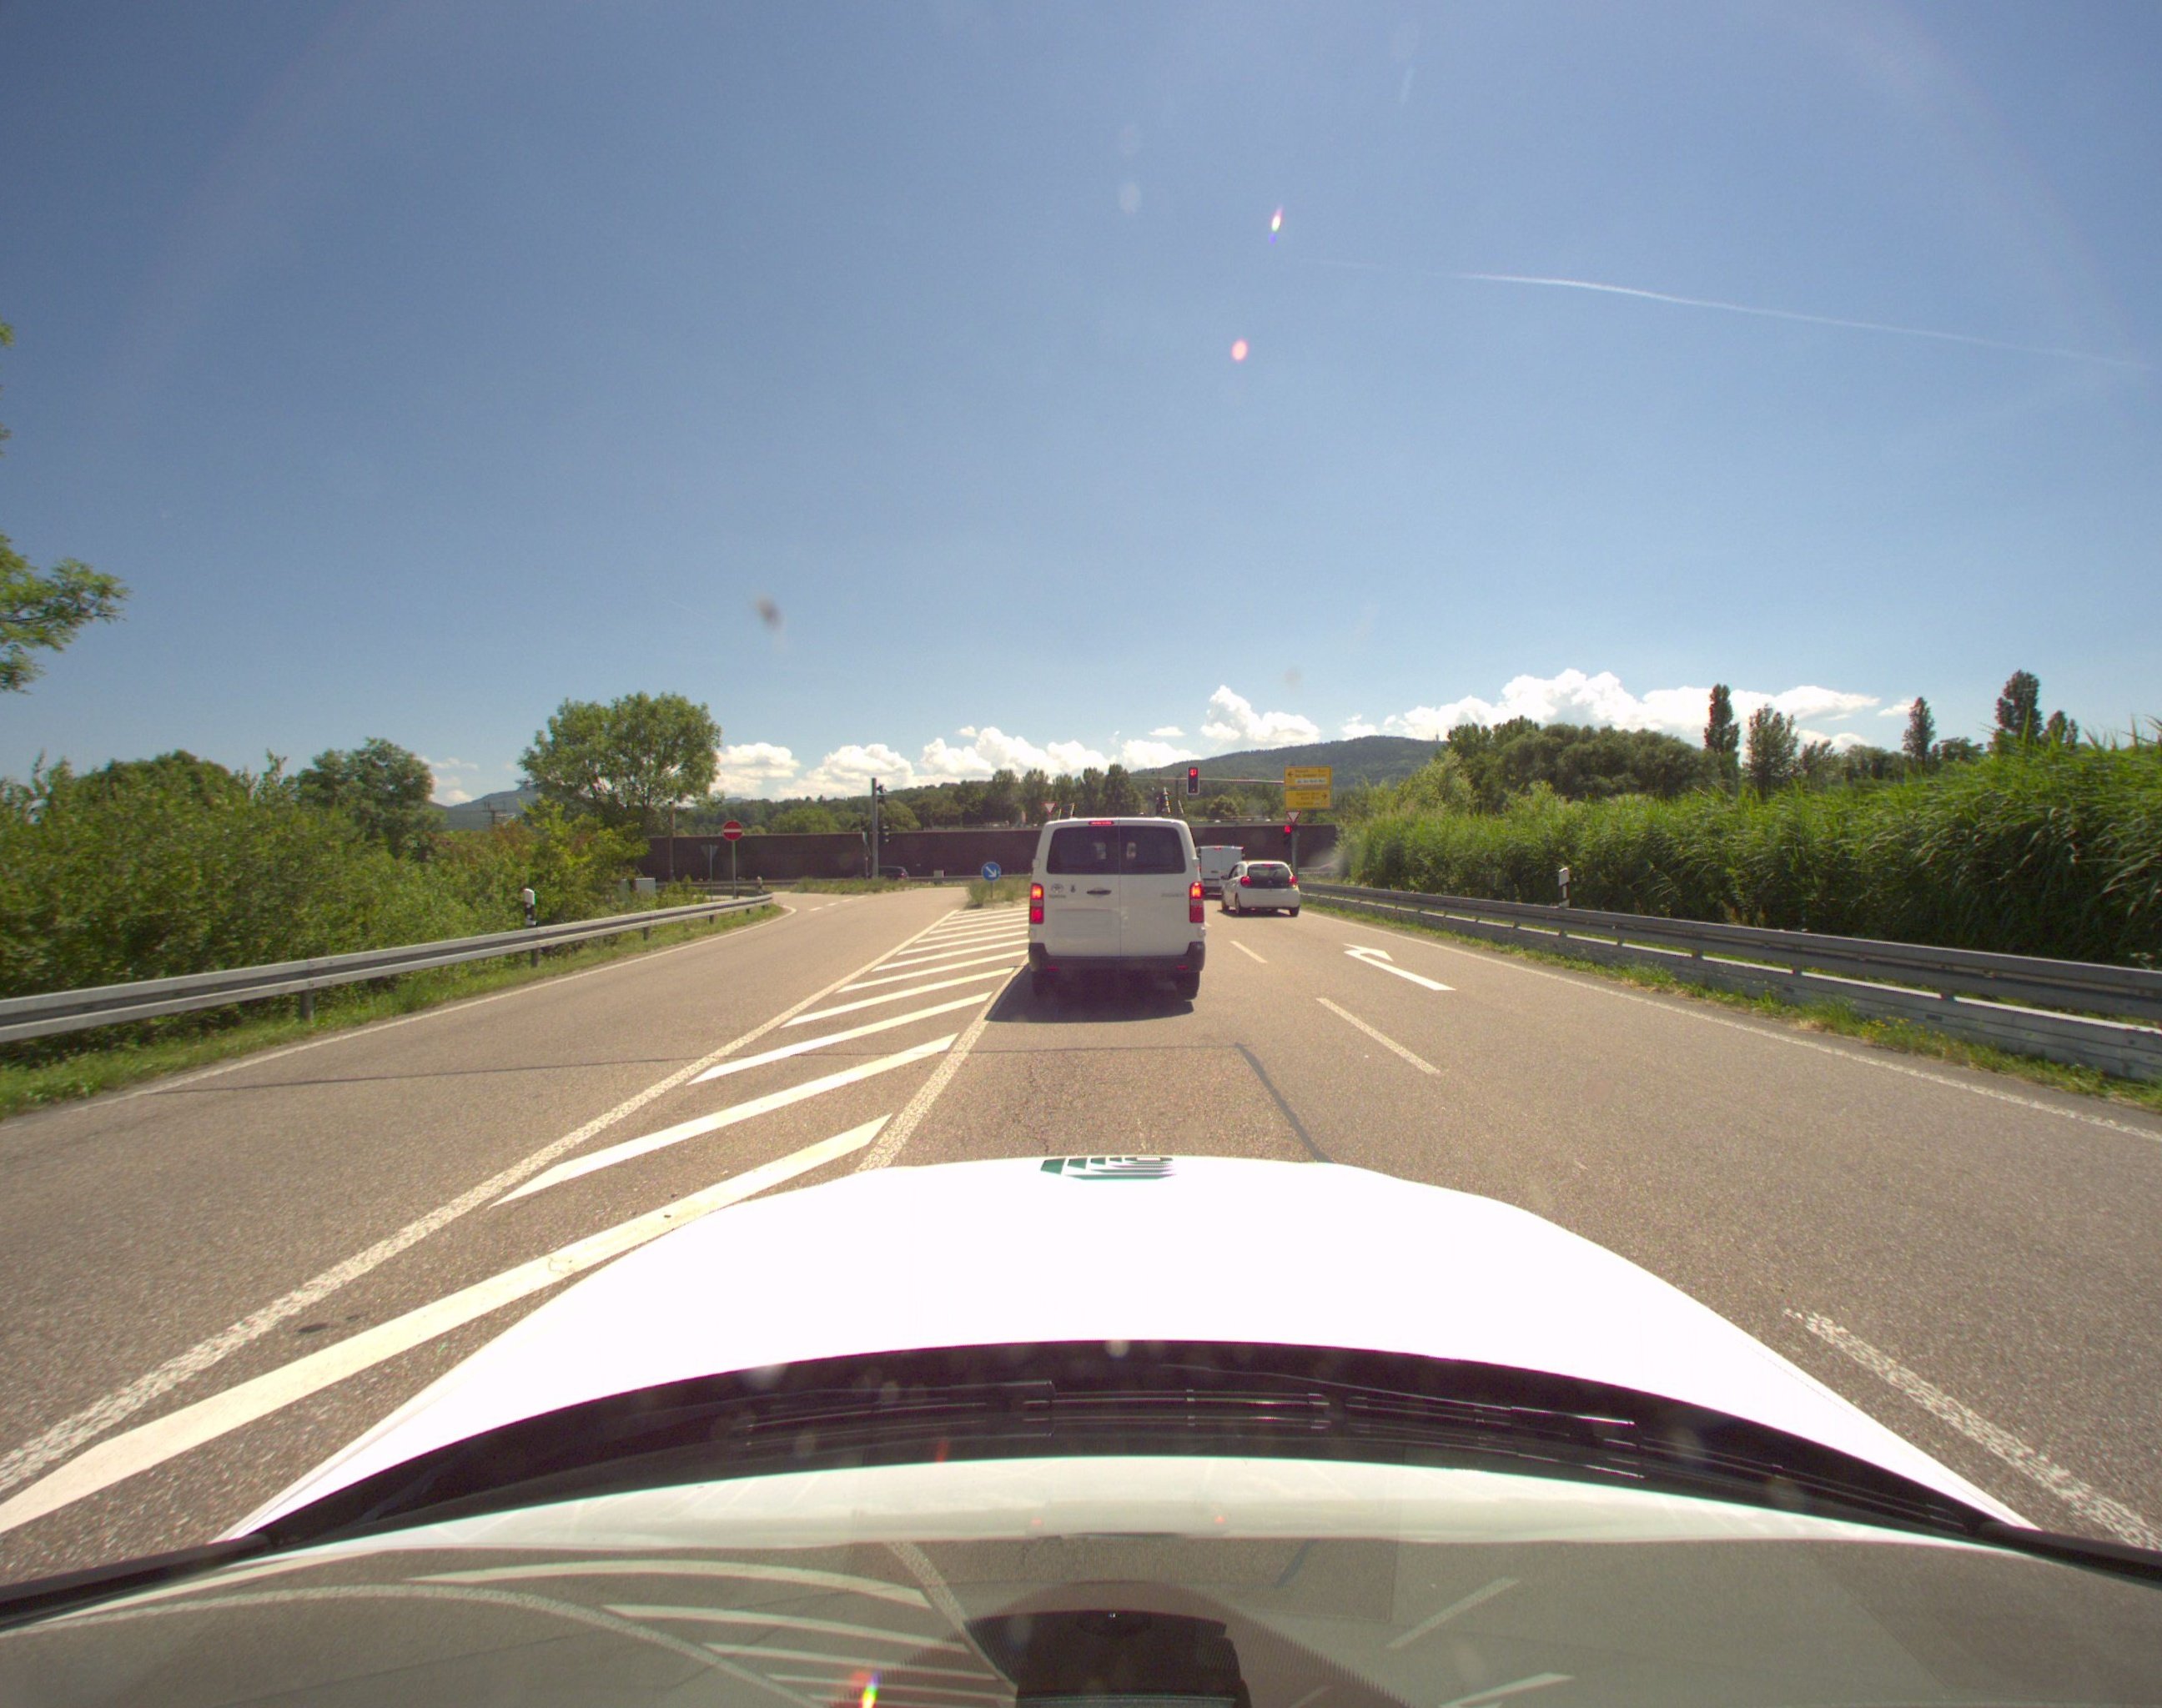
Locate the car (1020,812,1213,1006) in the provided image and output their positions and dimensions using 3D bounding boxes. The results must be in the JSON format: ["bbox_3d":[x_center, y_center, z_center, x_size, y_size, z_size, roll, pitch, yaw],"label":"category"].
[{"bbox_3d":[0.407,0.557,9.984,1.879,1.886,4.001,0,-1,2],"label":"car"}]

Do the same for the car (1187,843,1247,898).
[{"bbox_3d":[5.325,0.637,32.405,1.920,2.000,4.842,0,-1,4],"label":"car"}]

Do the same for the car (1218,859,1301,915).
[{"bbox_3d":[4.843,0.861,22.514,1.649,1.431,3.367,0,-1,2],"label":"car"}]

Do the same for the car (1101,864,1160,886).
[{"bbox_3d":[3.401,1.440,56.658,3.975,1.485,1.999,0,-1,-1],"label":"car"}]

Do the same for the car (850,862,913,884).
[{"bbox_3d":[-13.913,1.346,57.010,3.977,1.485,1.998,0,-1,-3],"label":"car"}]

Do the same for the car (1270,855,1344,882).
[{"bbox_3d":[14.851,0.932,53.733,4.297,1.656,1.999,-1,-1,-1],"label":"car"}]
